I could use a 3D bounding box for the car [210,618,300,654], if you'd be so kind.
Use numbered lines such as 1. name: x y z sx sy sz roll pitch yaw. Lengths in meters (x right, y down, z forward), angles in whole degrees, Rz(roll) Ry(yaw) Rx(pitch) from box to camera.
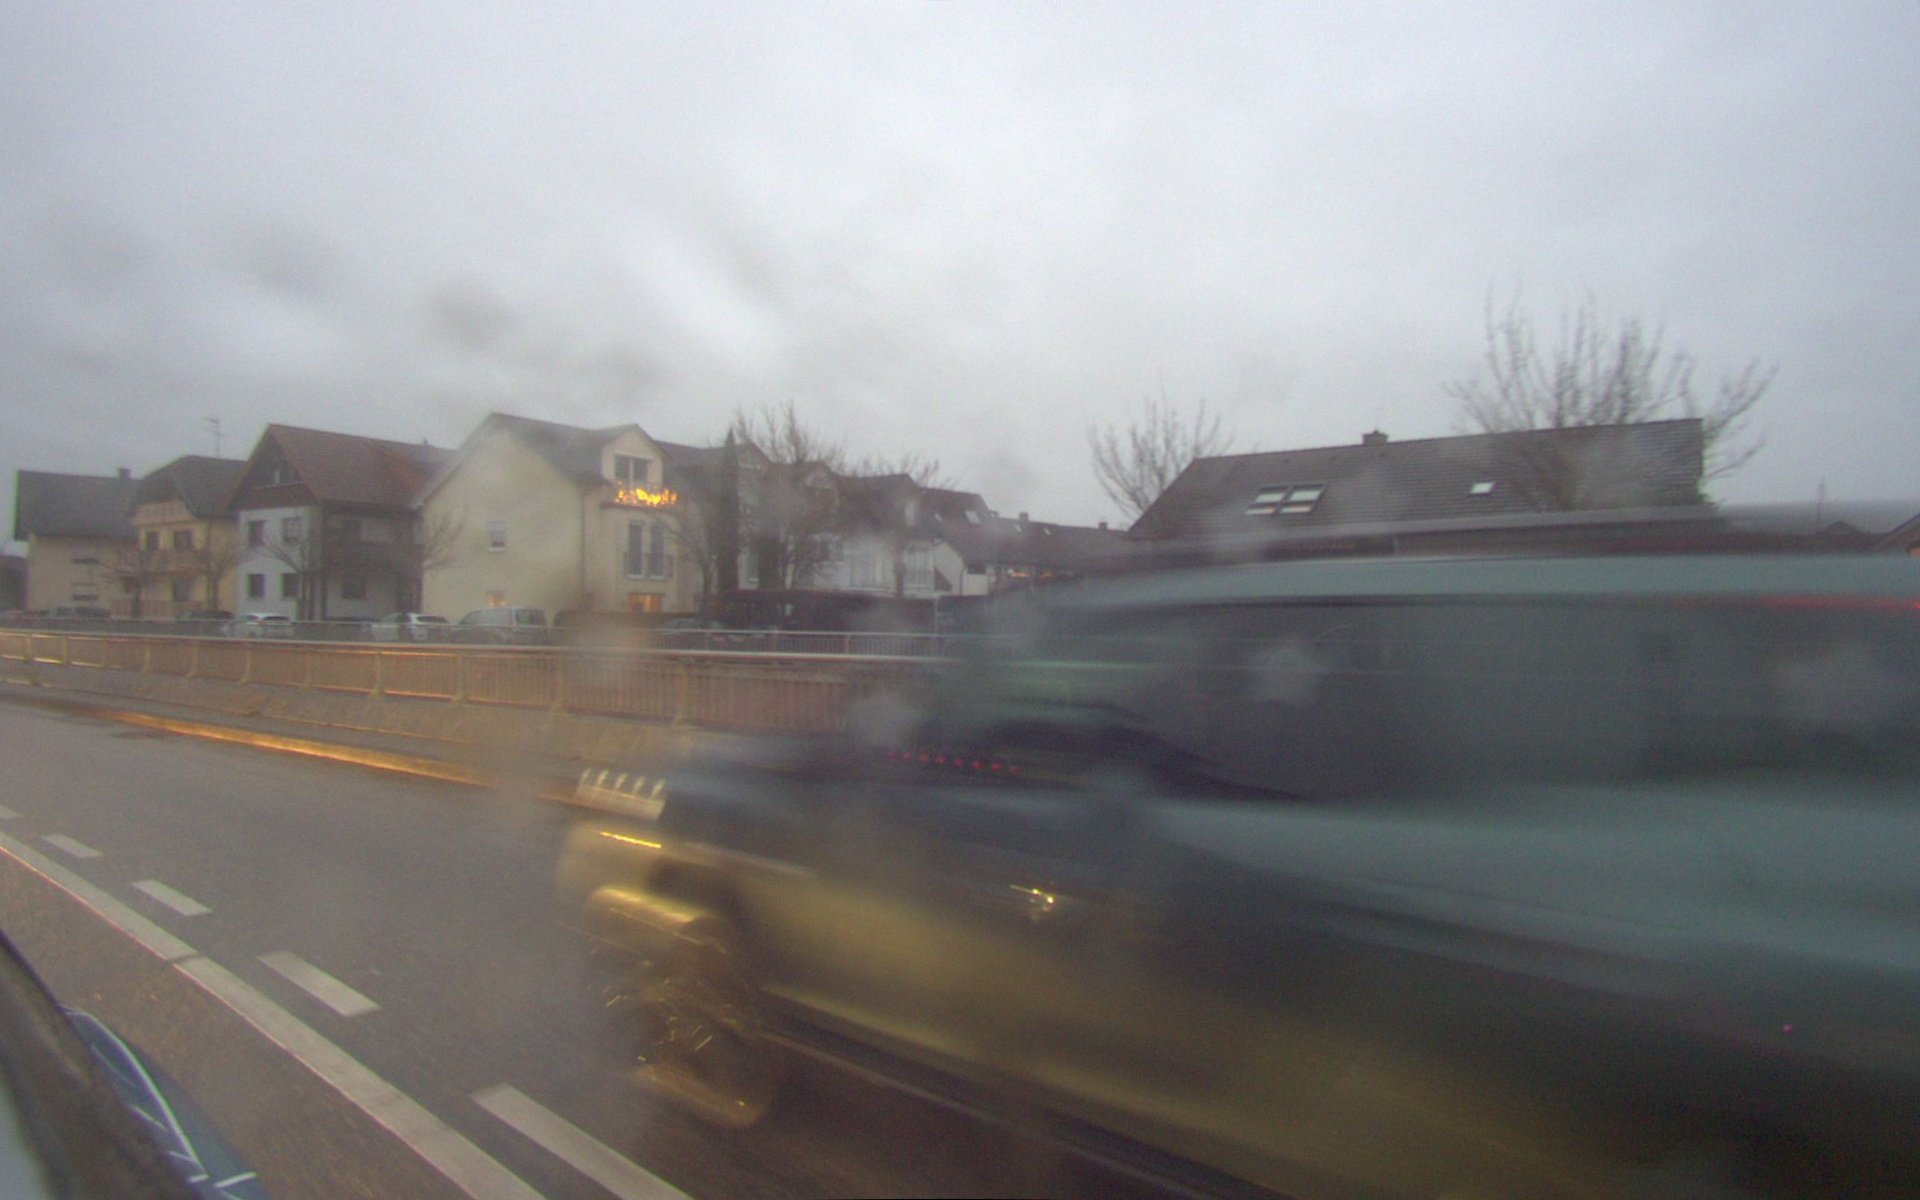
1. car: -32.324 1.601 46.402 4.014 1.535 1.757 0 -1 29

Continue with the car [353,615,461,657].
1. car: -22.263 1.452 40.716 4.208 1.611 1.861 -1 -3 30

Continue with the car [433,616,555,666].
1. car: -17.375 1.532 37.718 4.483 1.792 1.861 -1 -3 30

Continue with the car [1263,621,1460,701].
1. car: 8.077 1.163 20.461 3.453 1.438 1.469 0 -1 37

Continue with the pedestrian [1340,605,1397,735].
1. pedestrian: 5.563 0.925 13.775 0.540 1.710 0.657 -1 -1 38

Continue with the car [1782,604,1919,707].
1. car: 16.617 1.001 18.669 1.859 1.707 3.954 -1 -3 34

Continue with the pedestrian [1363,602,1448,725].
1. pedestrian: 6.820 0.941 15.495 0.972 1.798 0.919 -1 -1 38

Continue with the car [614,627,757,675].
1. car: -8.784 1.619 32.335 4.486 1.444 1.859 -1 -3 32

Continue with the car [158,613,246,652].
1. car: -36.061 1.497 48.147 3.982 1.694 1.847 0 1 29

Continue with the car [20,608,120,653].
1. car: -37.901 1.273 43.097 3.839 1.817 1.790 0 -1 25

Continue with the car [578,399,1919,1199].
1. car: 0.811 0.624 2.706 3.997 1.666 1.719 -2 -2 40

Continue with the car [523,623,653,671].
1. car: -12.923 1.618 35.095 4.486 1.584 1.859 -1 -3 32

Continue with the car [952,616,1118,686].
1. car: 1.828 1.226 25.068 3.808 1.592 1.553 0 -3 32
